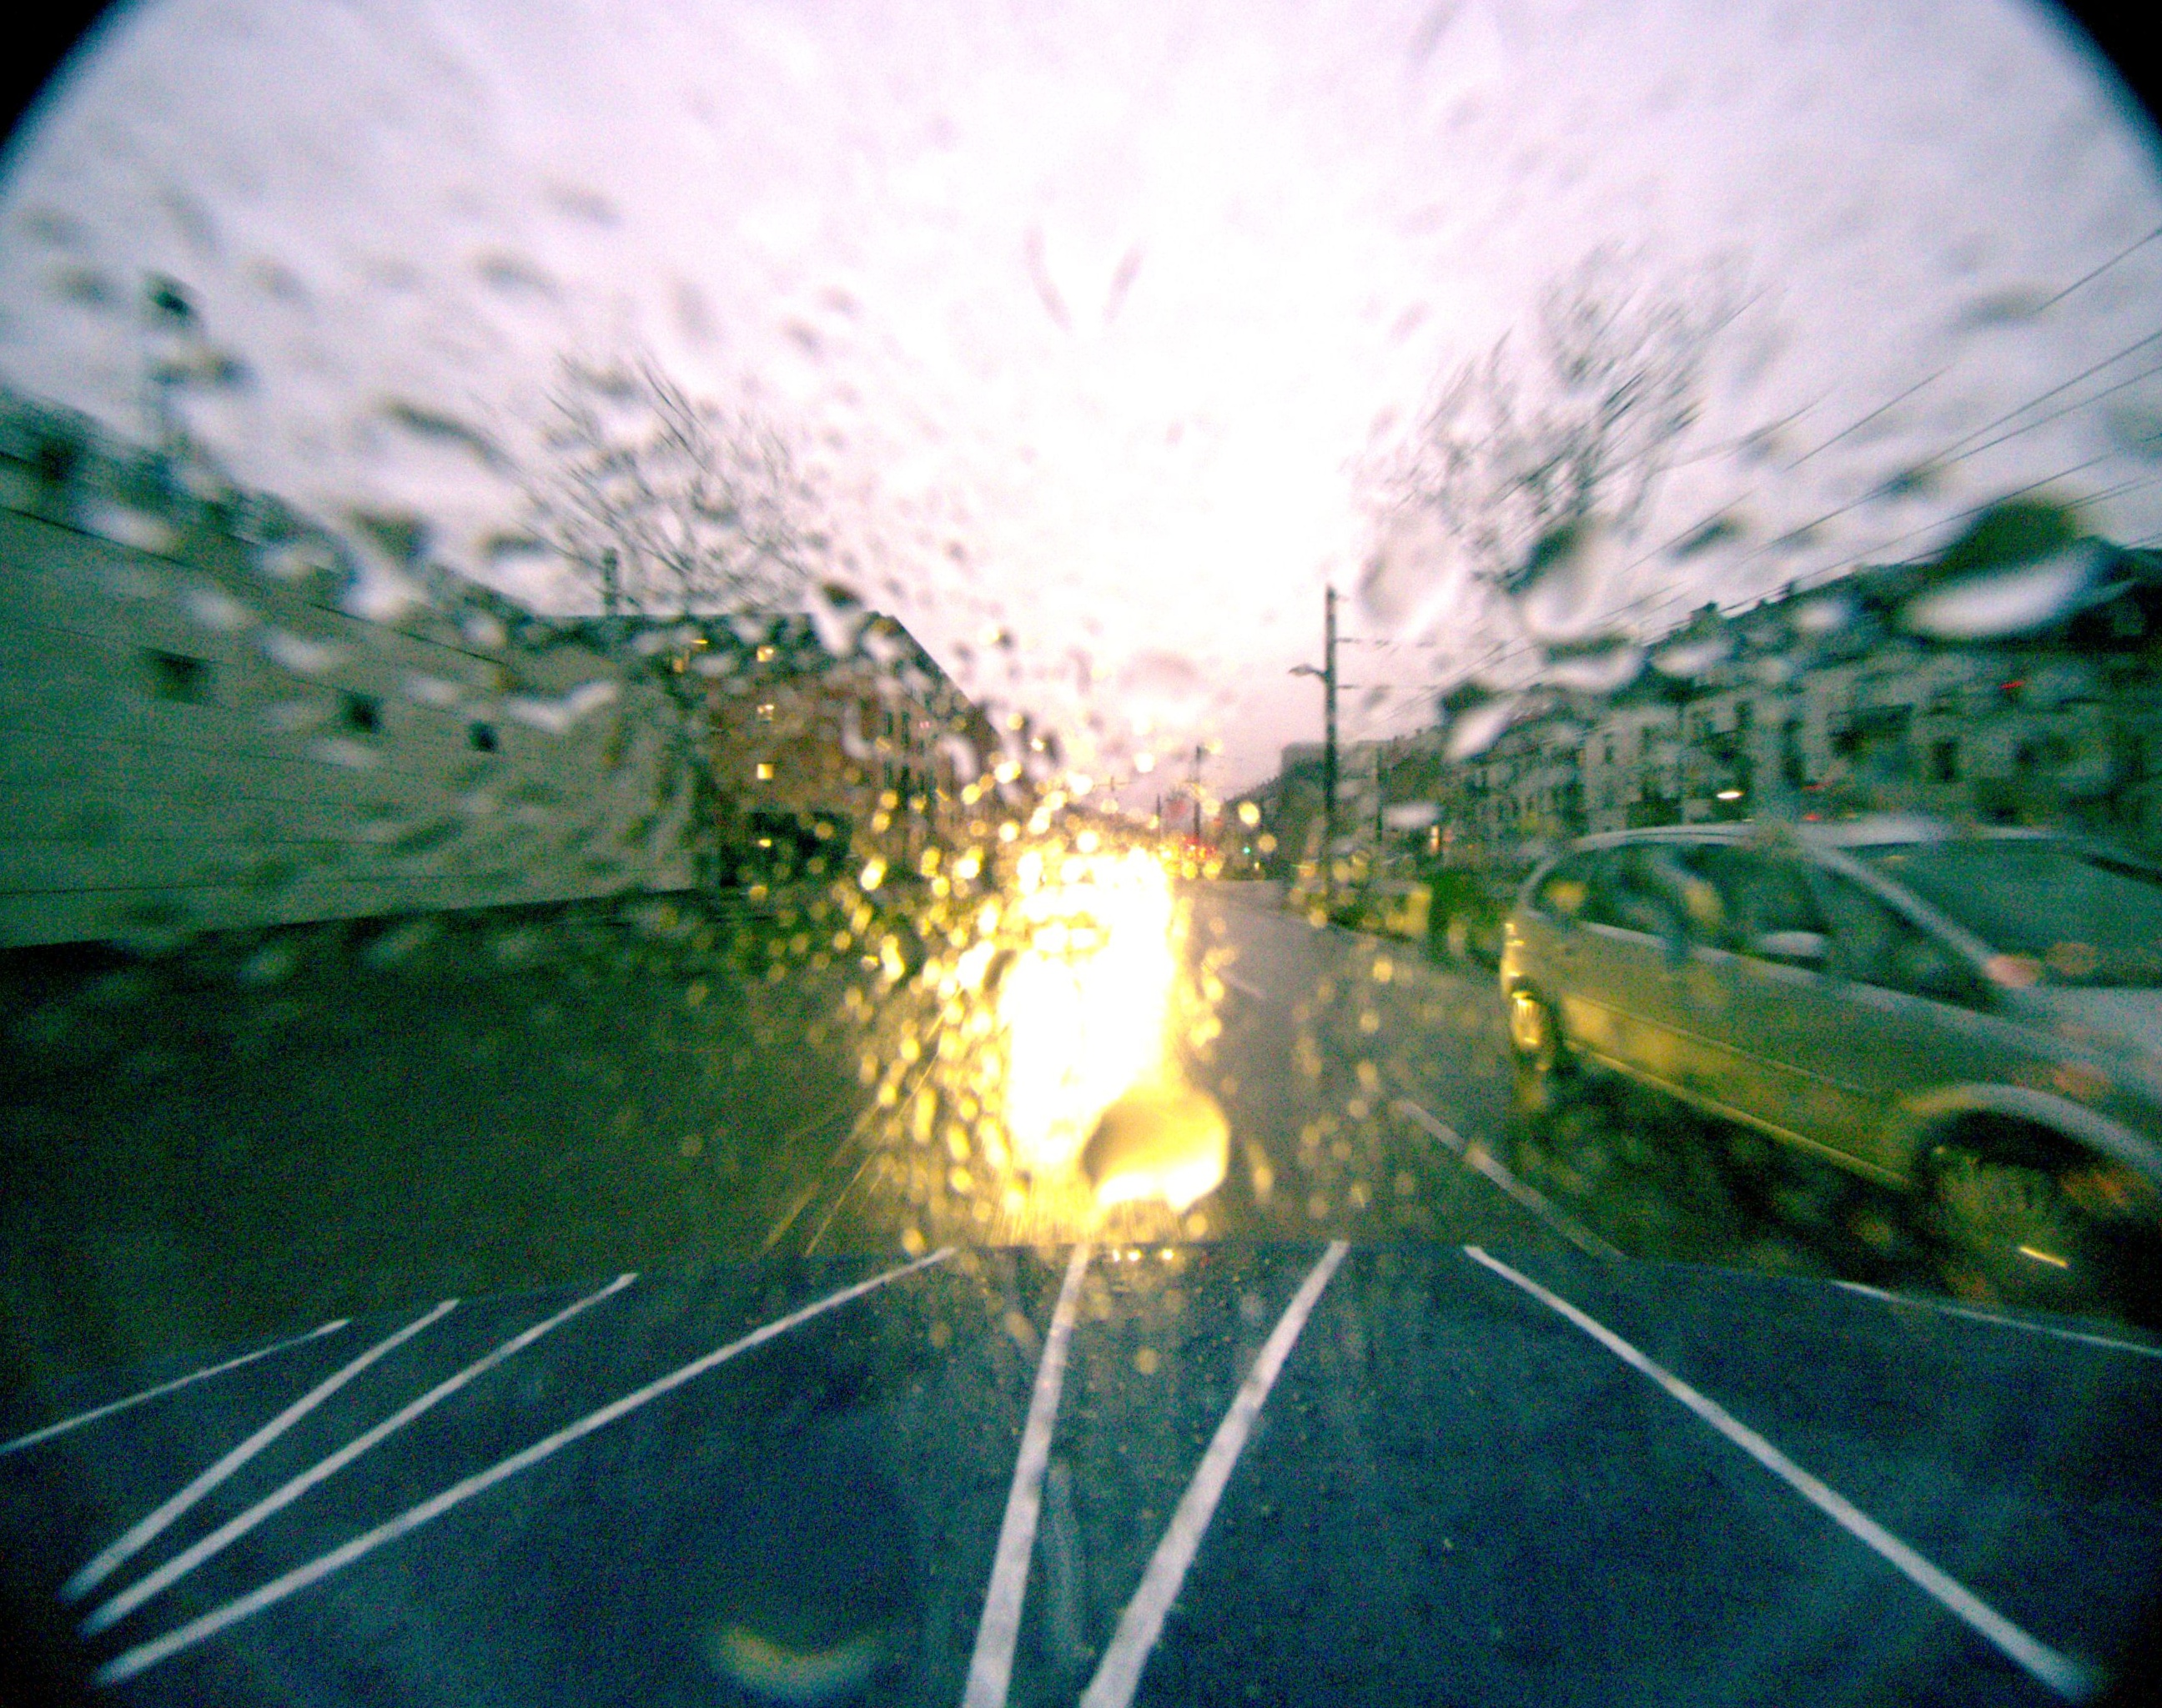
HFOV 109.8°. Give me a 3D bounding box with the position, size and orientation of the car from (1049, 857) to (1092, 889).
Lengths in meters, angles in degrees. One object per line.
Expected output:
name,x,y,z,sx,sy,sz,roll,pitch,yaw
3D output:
car,-0.456,0.870,37.045,1.813,1.384,4.054,-2,0,3

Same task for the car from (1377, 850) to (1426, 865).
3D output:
car,31.032,0.326,73.598,3.988,1.324,2.004,0,1,40

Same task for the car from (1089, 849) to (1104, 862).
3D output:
car,2.057,0.158,100.957,1.998,1.694,4.000,0,0,1

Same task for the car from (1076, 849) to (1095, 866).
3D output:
car,0.565,0.385,83.622,1.998,1.745,4.000,0,0,2

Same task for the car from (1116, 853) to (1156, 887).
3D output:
car,2.649,0.733,37.334,1.813,1.488,4.054,-2,1,3

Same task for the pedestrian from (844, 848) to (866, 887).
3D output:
pedestrian,-9.507,0.573,32.018,0.622,1.601,1.067,-1,1,-2

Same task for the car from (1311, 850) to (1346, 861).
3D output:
car,32.533,0.193,99.795,3.988,1.324,2.004,0,1,37

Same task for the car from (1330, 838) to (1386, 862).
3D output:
car,32.457,-0.480,89.039,5.850,2.781,2.004,0,1,44

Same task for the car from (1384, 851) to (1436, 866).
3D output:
car,30.326,0.396,70.099,3.988,1.324,2.004,0,1,40

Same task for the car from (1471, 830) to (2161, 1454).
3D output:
car,3.682,0.719,3.365,1.814,1.591,4.053,-2,1,0

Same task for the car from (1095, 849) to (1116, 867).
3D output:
car,2.443,0.397,74.815,1.998,1.745,4.000,0,0,2
